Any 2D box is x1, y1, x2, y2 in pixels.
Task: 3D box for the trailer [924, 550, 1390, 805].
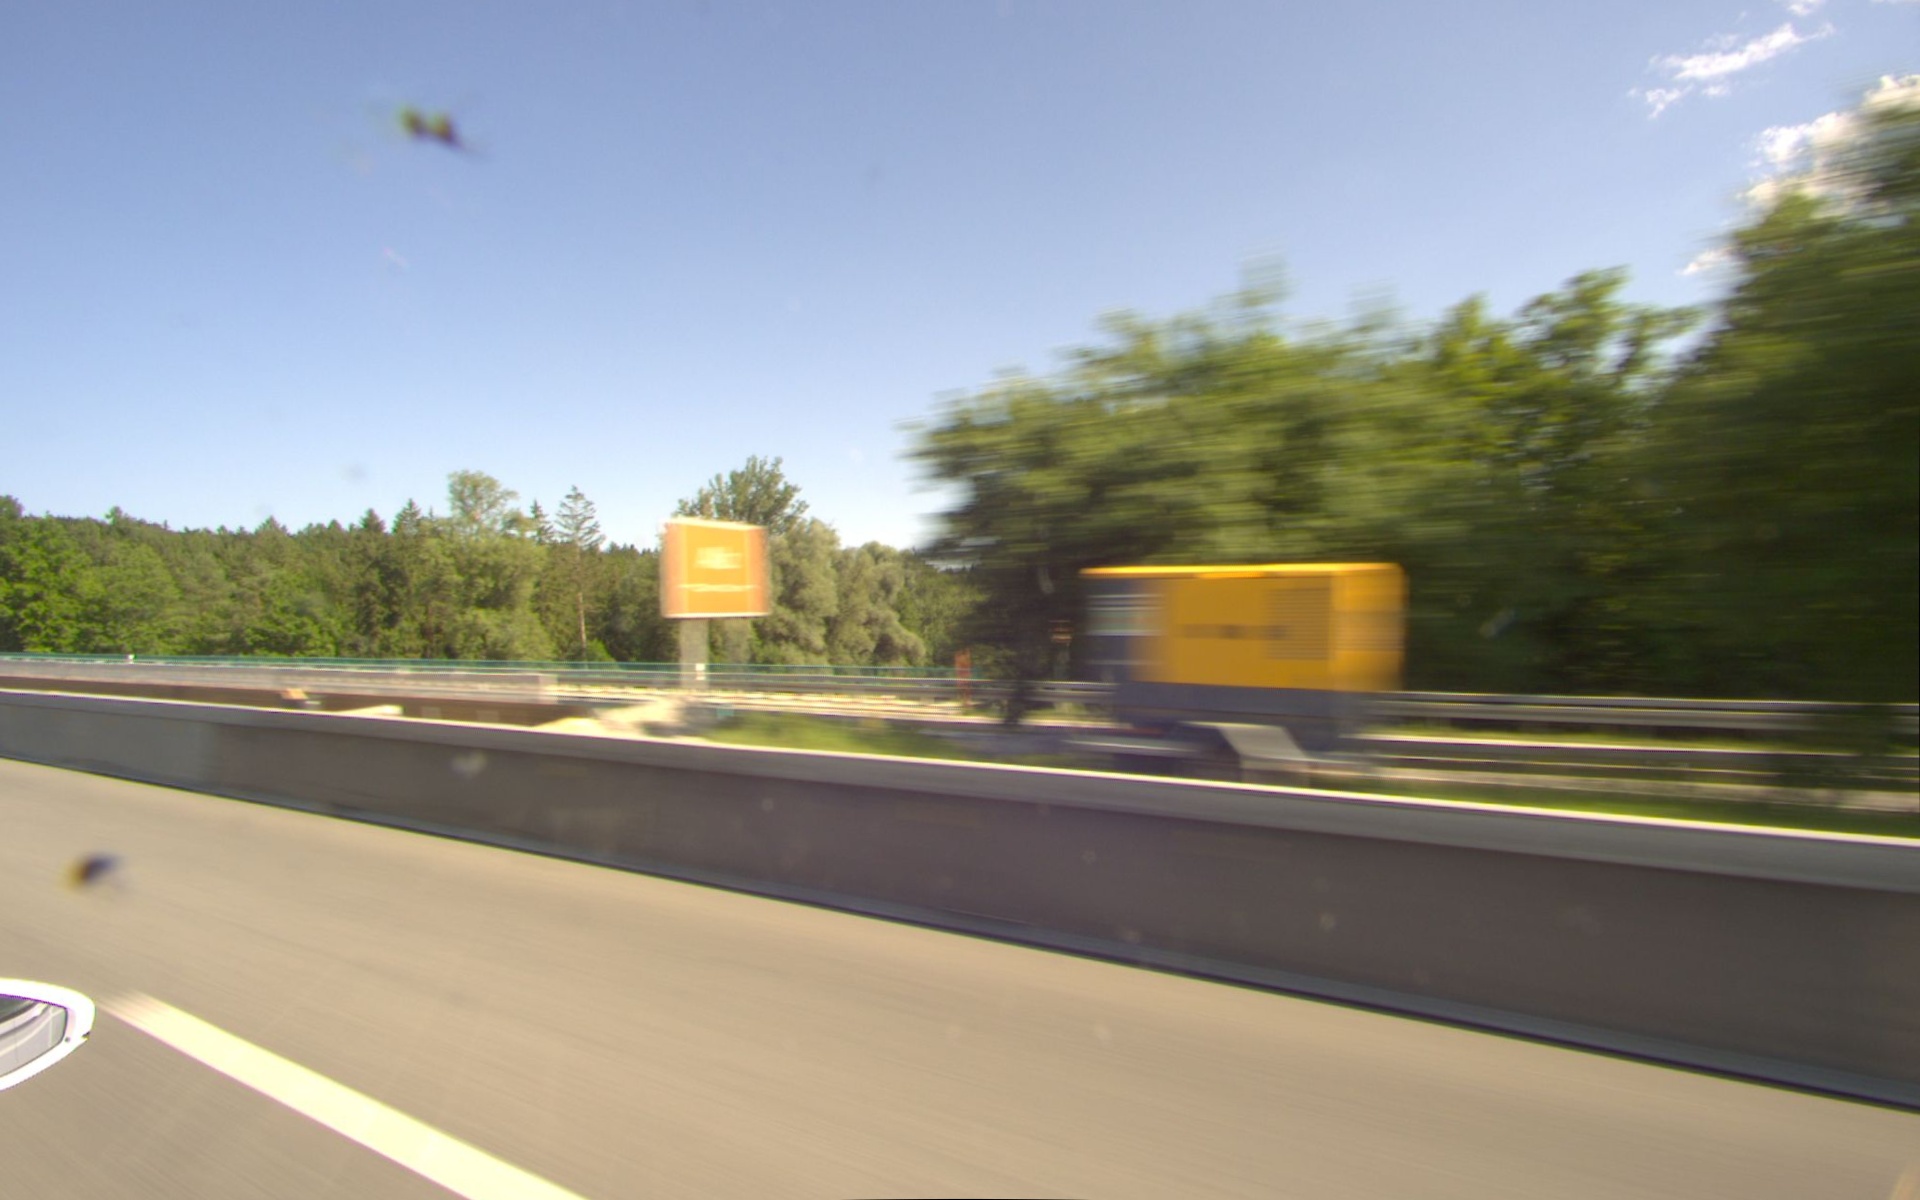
[{"bbox_3d":[1.641,0.607,8.945,3.941,1.898,1.123,-1,0,31],"label":"trailer"}]
